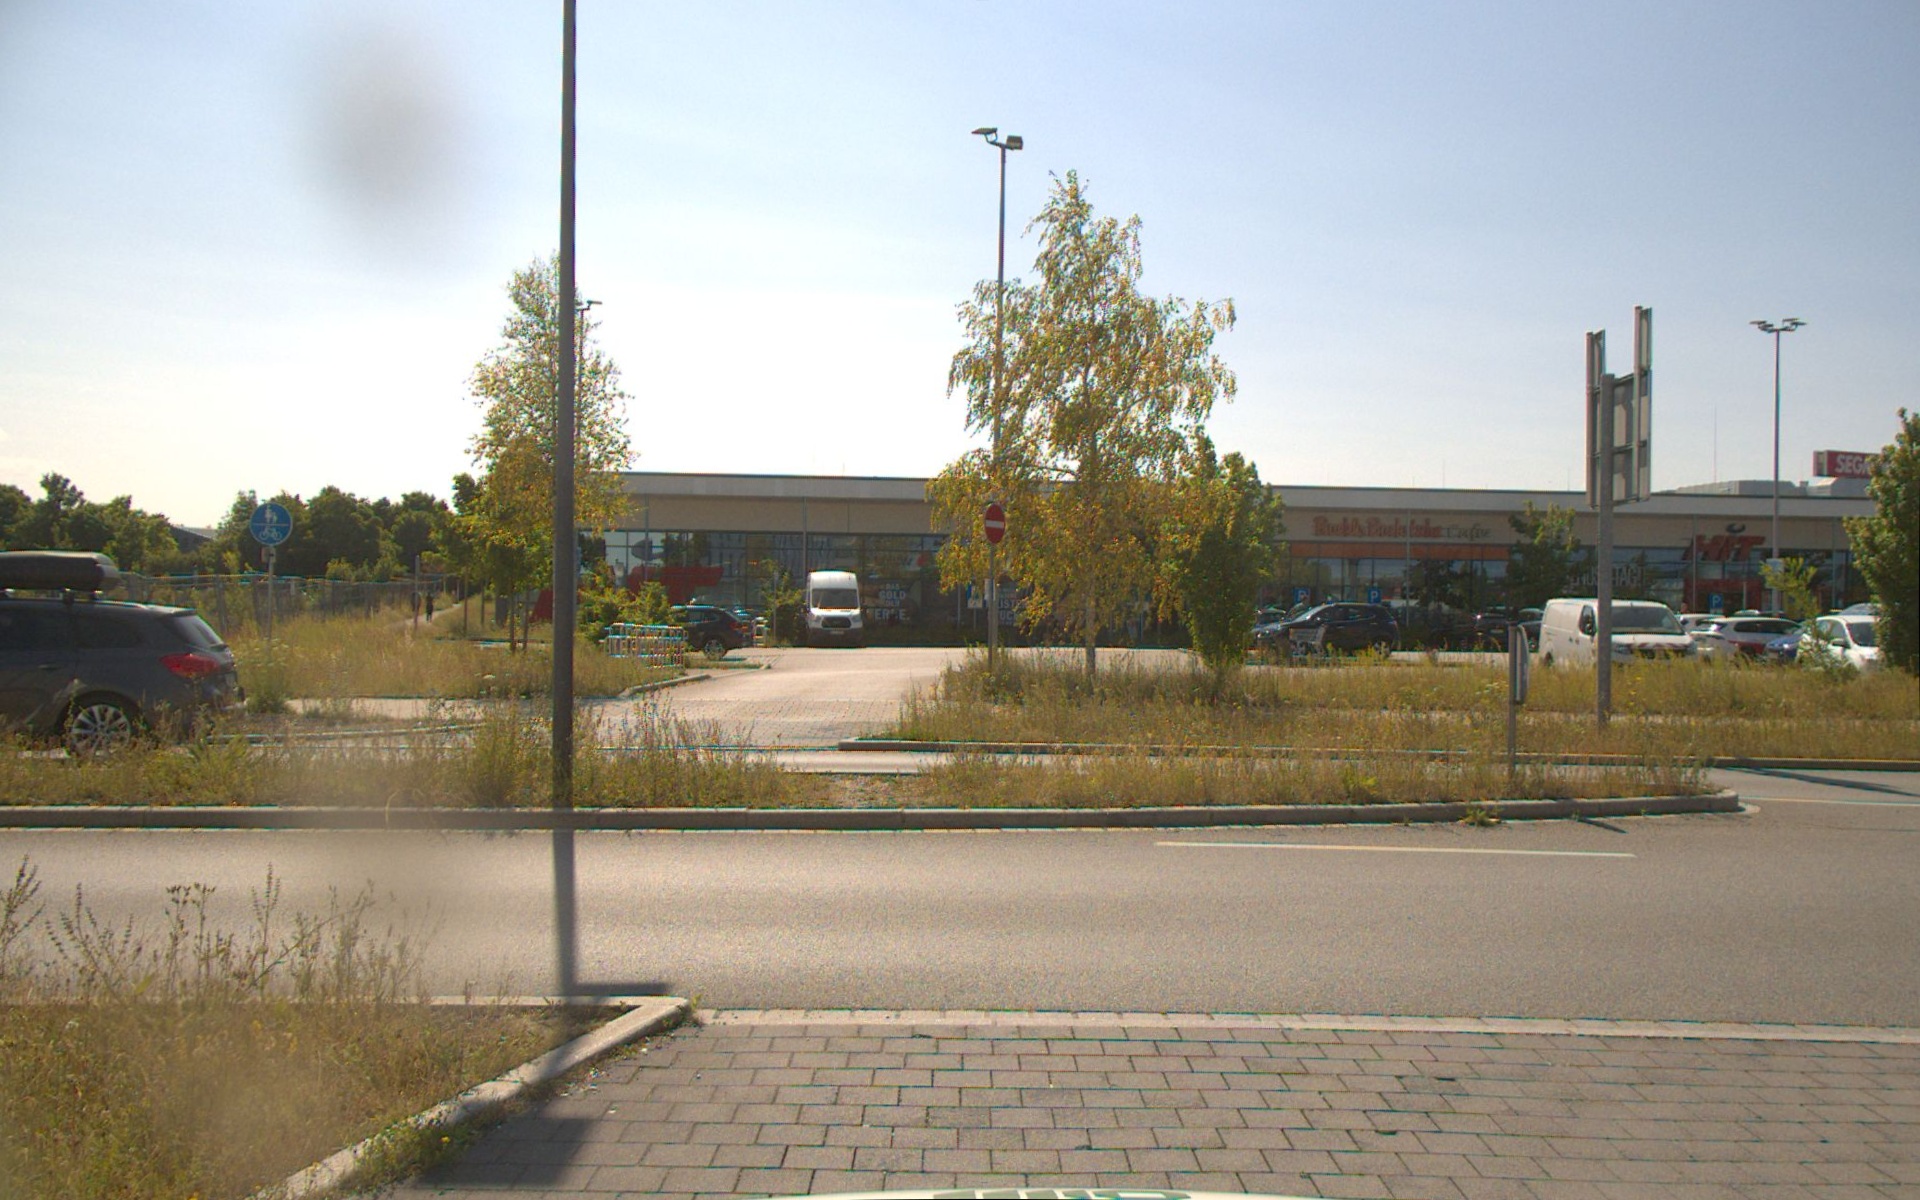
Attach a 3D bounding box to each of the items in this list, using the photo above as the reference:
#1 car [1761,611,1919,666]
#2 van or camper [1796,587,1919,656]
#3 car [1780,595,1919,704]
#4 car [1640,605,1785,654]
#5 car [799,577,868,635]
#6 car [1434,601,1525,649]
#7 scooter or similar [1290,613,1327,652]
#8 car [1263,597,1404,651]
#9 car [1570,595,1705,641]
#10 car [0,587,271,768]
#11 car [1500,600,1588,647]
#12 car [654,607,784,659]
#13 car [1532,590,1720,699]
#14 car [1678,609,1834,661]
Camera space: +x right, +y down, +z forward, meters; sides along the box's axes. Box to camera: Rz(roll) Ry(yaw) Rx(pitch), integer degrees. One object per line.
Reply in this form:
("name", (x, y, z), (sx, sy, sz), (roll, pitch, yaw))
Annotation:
("car", (23.682, 1.018, 44.331), (3.649, 1.415, 1.729), (1, 0, -7))
("van or camper", (28.651, 0.643, 50.799), (4.933, 2.049, 1.999), (1, 0, -2))
("car", (18.647, 0.944, 33.655), (2.111, 2.049, 5.120), (1, 0, 10))
("car", (22.687, 0.887, 49.936), (3.649, 1.415, 1.729), (1, 0, -7))
("car", (-4.788, 0.197, 61.585), (2.180, 2.011, 6.685), (0, 0, -8))
("car", (19.750, 0.929, 63.024), (1.955, 1.737, 3.996), (1, 0, -5))
("scooter or similar", (9.938, 0.923, 47.185), (0.924, 1.098, 0.652), (1, 0, 0))
("car", (11.018, 0.698, 48.928), (3.718, 1.535, 1.731), (1, 0, -4))
("car", (21.592, 0.553, 52.772), (3.649, 1.415, 1.729), (1, 0, -7))
("car", (-8.622, 0.659, 14.980), (4.114, 1.543, 1.992), (1, -1, -15))
("car", (22.360, 0.874, 63.467), (1.953, 1.737, 4.000), (1, 0, -1))
("car", (-7.220, 0.984, 49.716), (3.760, 1.448, 1.769), (1, -1, -8))
("car", (13.551, 0.839, 34.035), (2.037, 2.049, 5.231), (1, 0, 4))
("car", (22.529, 0.977, 46.891), (3.649, 1.415, 1.729), (1, 0, -7))
